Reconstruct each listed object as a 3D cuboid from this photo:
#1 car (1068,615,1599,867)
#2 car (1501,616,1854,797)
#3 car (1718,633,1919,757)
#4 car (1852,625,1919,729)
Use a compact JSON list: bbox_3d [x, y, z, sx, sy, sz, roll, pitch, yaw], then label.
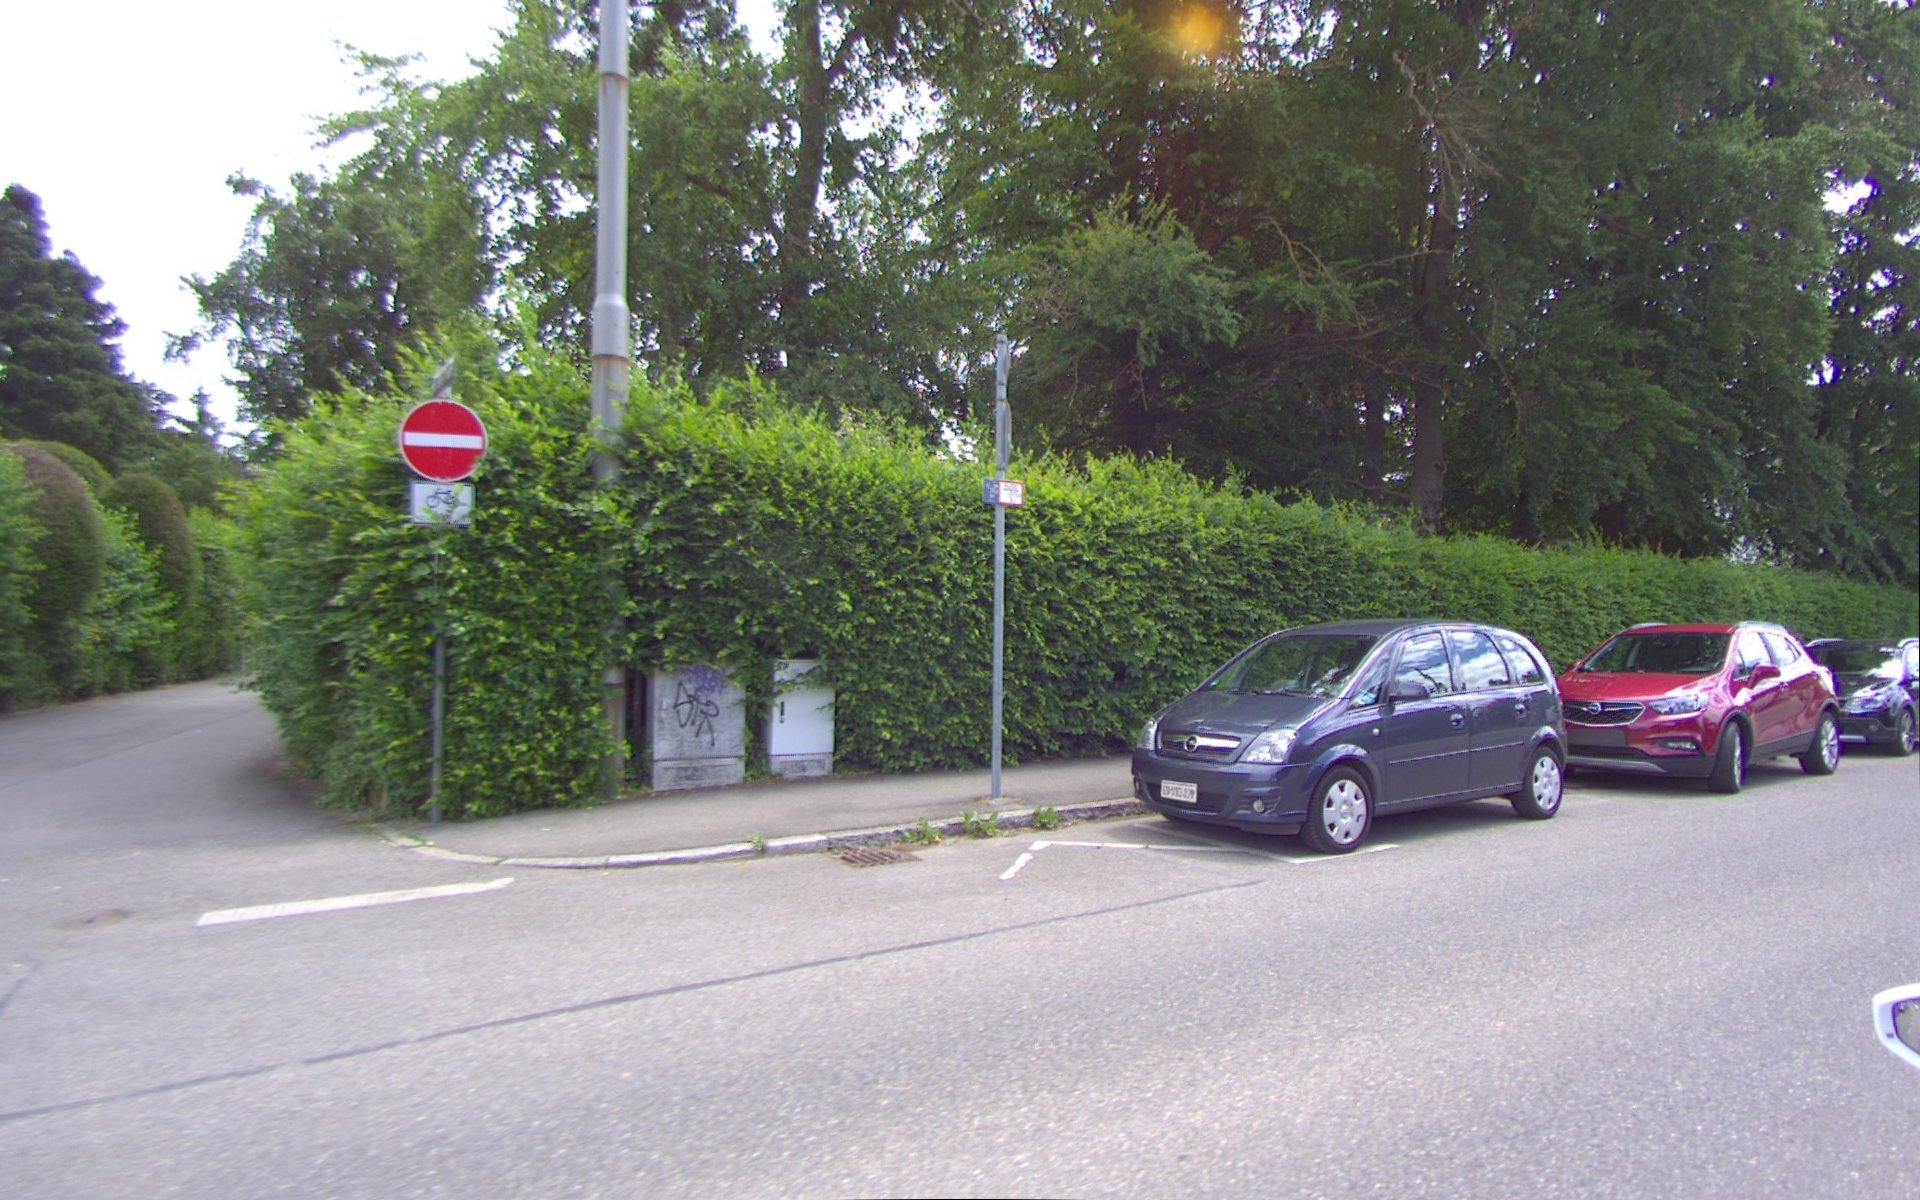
[{"bbox_3d":[3.091,0.934,8.073,4.278,1.554,1.748,1,-2,-31],"label":"car"},{"bbox_3d":[7.975,1.014,11.044,4.371,1.632,1.779,1,-1,-34],"label":"car"},{"bbox_3d":[12.559,1.224,14.136,4.192,1.478,1.723,1,-1,-33],"label":"car"},{"bbox_3d":[16.849,1.238,16.736,4.594,1.615,1.885,1,-1,-34],"label":"car"}]
